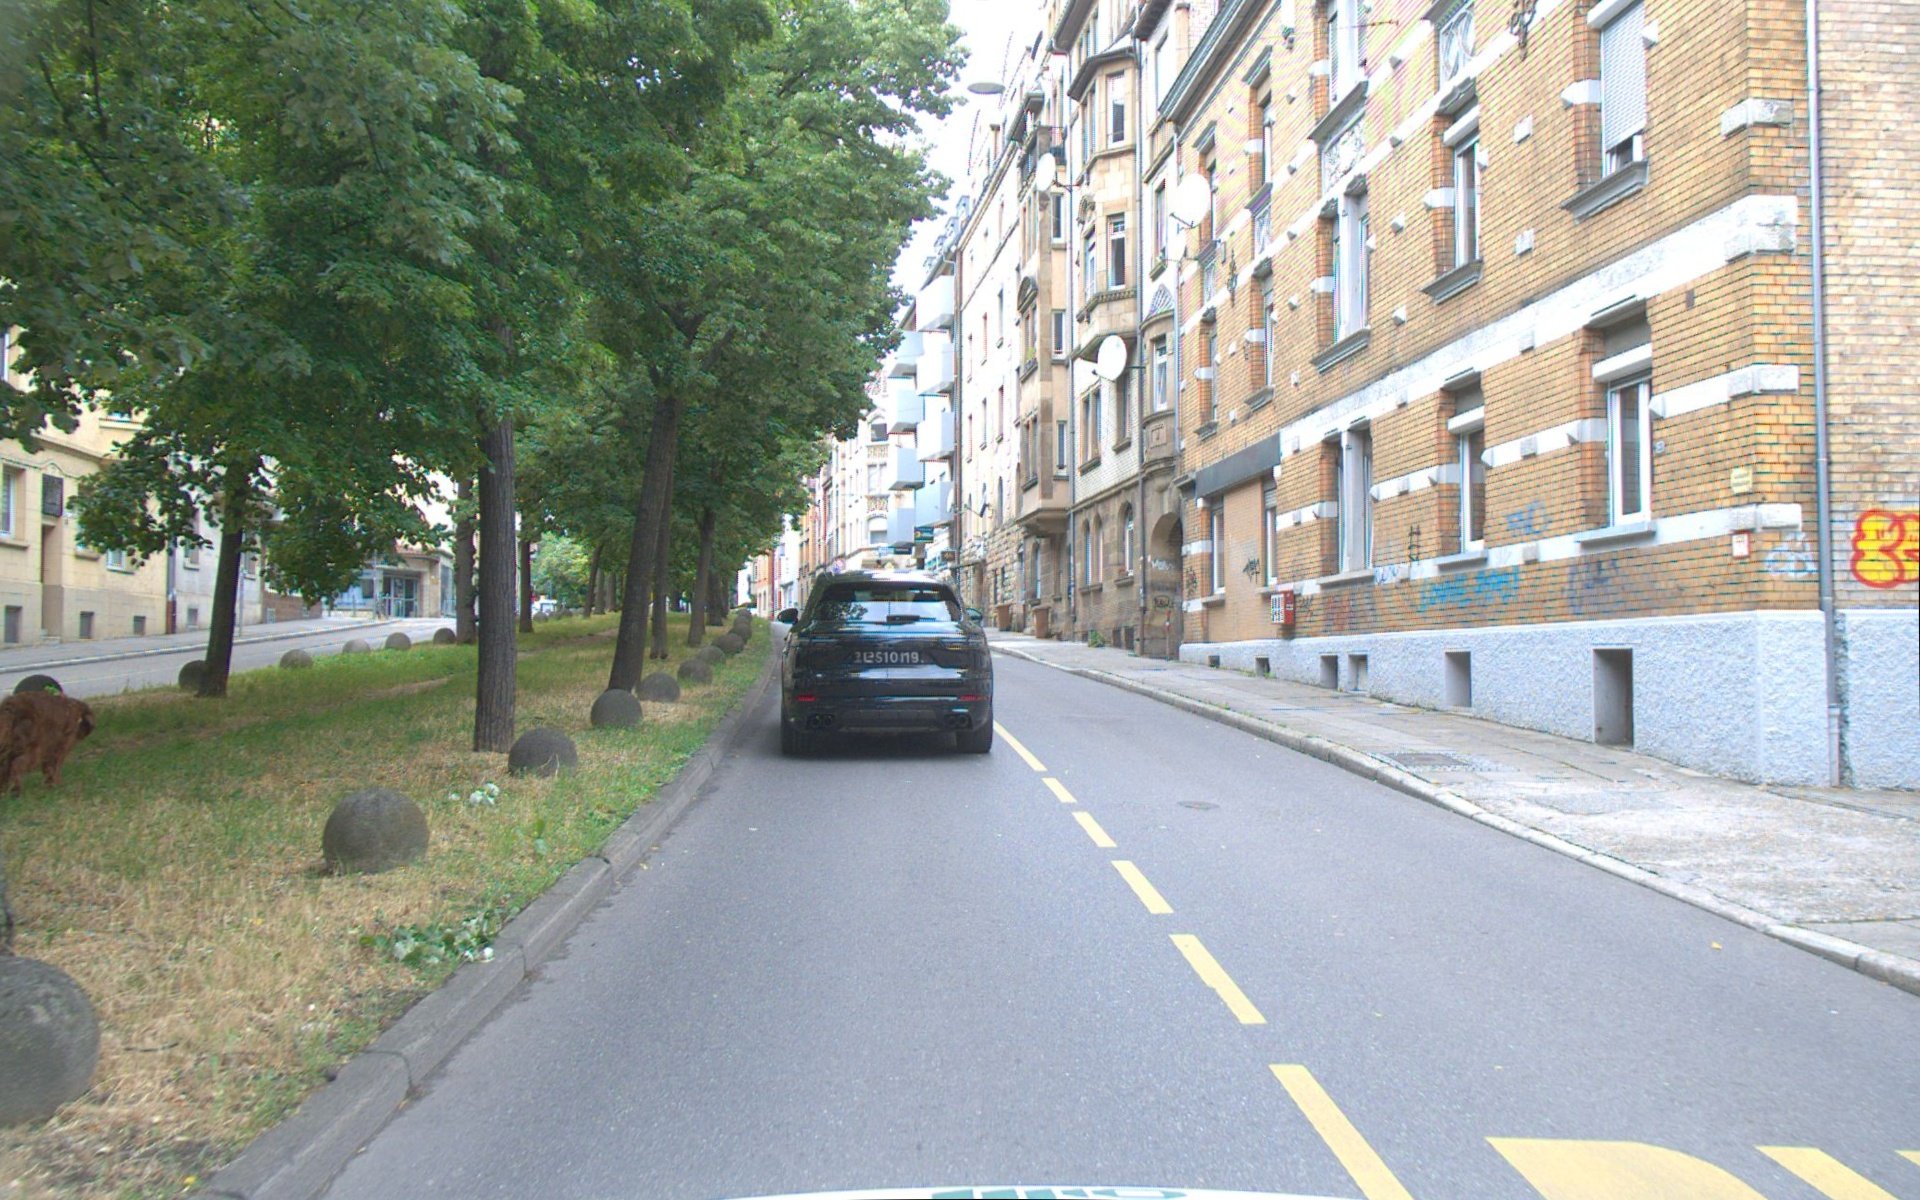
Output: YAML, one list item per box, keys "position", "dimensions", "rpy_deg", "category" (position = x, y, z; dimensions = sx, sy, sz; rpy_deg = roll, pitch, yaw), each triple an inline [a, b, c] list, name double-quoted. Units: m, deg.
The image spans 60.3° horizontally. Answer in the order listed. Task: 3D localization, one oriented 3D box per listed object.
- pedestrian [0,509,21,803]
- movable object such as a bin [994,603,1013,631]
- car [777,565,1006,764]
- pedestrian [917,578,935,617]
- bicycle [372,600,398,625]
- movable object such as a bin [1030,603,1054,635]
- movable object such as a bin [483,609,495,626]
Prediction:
- position: [-6.096, 0.340, 9.406]
  dimensions: [0.816, 1.742, 1.122]
  rpy_deg: [-3, -2, -2]
  category: "pedestrian"
- position: [1.477, 0.571, 56.560]
  dimensions: [0.583, 0.920, 0.502]
  rpy_deg: [1, -4, -7]
  category: "movable object such as a bin"
- position: [-0.694, 0.544, 16.201]
  dimensions: [1.954, 1.695, 3.997]
  rpy_deg: [0, 0, -3]
  category: "car"
- position: [-1.546, -0.121, 74.659]
  dimensions: [0.737, 1.722, 0.857]
  rpy_deg: [0, -2, -7]
  category: "pedestrian"
- position: [-27.055, 0.584, 77.785]
  dimensions: [0.754, 1.104, 2.016]
  rpy_deg: [2, -2, -30]
  category: "bicycle"
- position: [2.382, 0.554, 48.118]
  dimensions: [0.583, 0.920, 0.562]
  rpy_deg: [1, 0, -6]
  category: "movable object such as a bin"
- position: [-30.187, 1.138, 106.109]
  dimensions: [0.680, 1.078, 0.687]
  rpy_deg: [1, -2, -13]
  category: "movable object such as a bin"
